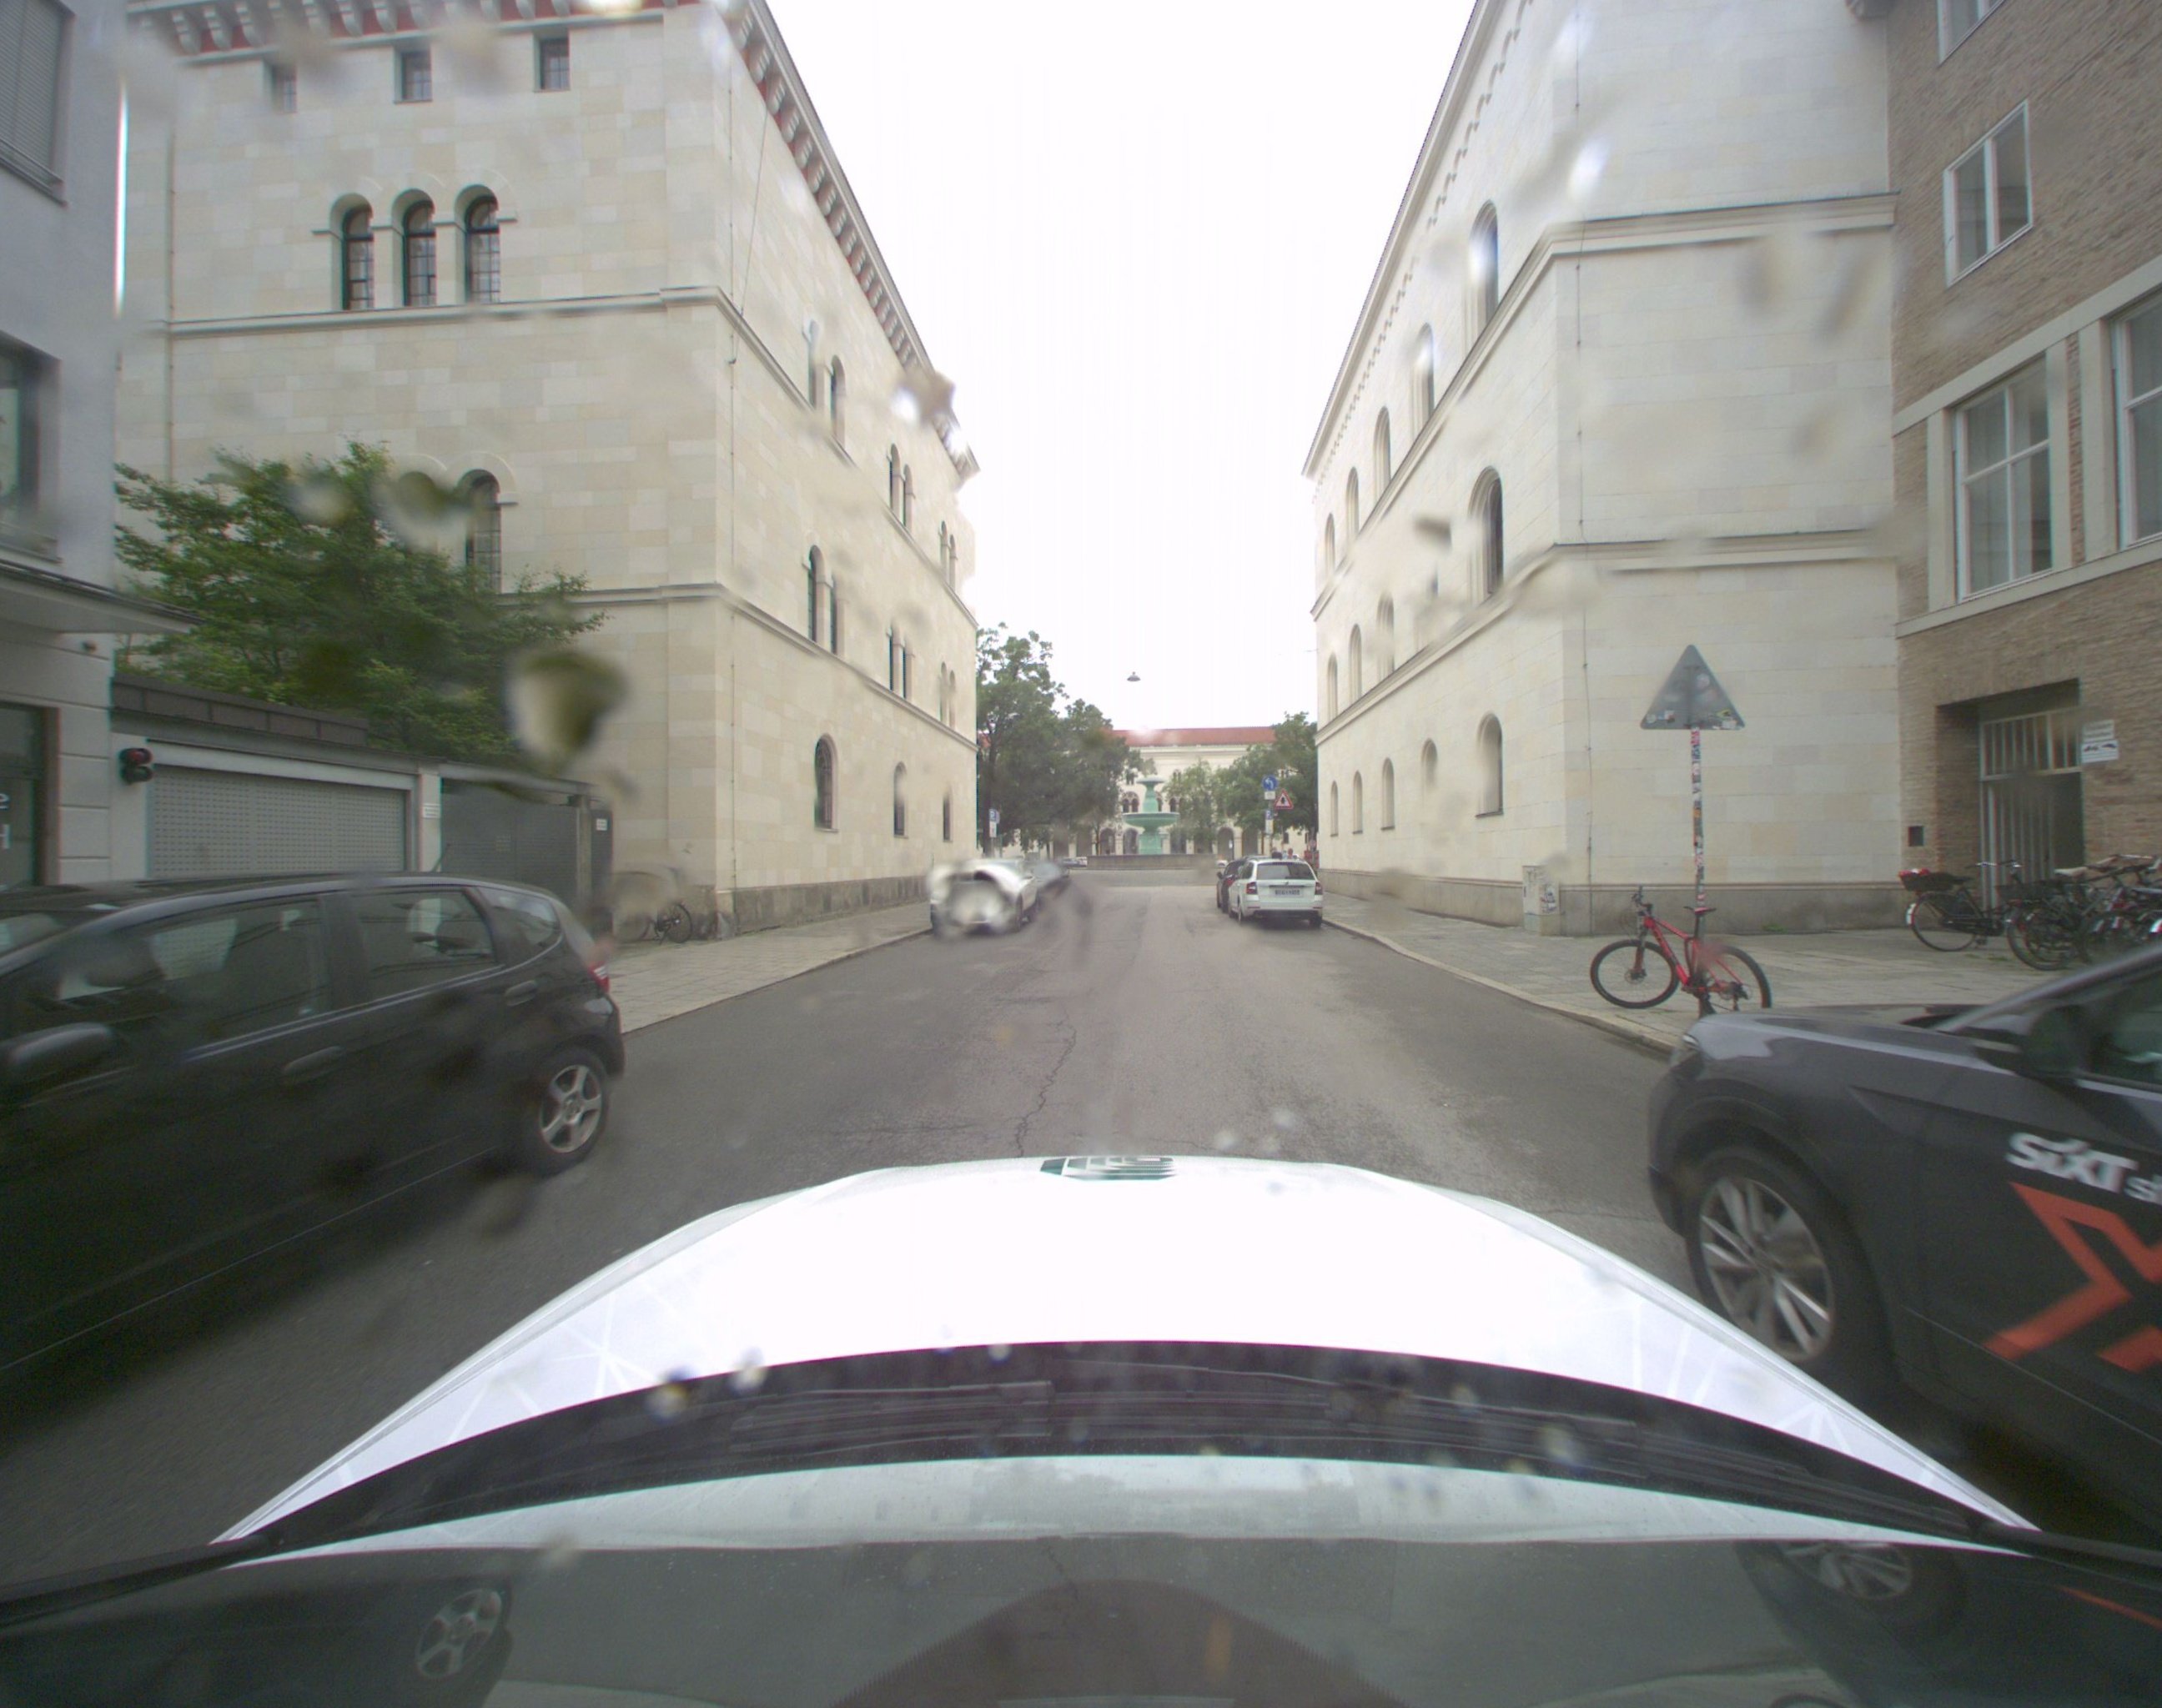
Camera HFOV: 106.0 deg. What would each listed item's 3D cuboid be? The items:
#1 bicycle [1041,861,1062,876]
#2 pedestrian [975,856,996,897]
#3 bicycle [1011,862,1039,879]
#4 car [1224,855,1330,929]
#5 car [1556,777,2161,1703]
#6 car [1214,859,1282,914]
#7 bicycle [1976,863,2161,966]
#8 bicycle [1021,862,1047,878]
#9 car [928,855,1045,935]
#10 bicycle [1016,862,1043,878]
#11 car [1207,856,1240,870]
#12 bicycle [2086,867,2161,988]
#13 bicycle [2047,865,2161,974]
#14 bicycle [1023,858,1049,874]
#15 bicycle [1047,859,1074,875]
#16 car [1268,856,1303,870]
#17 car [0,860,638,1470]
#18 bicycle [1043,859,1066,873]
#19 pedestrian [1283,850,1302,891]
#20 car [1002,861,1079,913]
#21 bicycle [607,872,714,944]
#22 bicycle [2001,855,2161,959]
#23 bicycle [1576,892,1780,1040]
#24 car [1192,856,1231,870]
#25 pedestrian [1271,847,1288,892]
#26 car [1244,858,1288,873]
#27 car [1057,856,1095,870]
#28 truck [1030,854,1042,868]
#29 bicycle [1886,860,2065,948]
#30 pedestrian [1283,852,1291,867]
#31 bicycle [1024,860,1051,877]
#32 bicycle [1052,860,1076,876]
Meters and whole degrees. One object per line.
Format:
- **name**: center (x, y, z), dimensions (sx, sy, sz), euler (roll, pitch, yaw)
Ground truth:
- **bicycle**: center (-2.126, 1.037, 58.403), dimensions (1.390, 1.099, 0.659), euler (0, 0, 16)
- **pedestrian**: center (-4.130, 0.972, 35.300), dimensions (0.751, 1.749, 0.690), euler (-2, 0, 3)
- **bicycle**: center (-3.550, 1.041, 51.937), dimensions (1.606, 1.035, 0.701), euler (0, 0, 16)
- **car**: center (4.330, 0.774, 18.582), dimensions (1.780, 1.476, 4.320), euler (0, 0, 6)
- **car**: center (2.726, 0.662, 1.273), dimensions (1.741, 1.593, 3.957), euler (0, 0, 1)
- **car**: center (4.716, 0.880, 23.407), dimensions (1.532, 1.426, 3.778), euler (-1, -1, 6)
- **bicycle**: center (10.696, 0.642, 8.720), dimensions (1.620, 1.042, 0.349), euler (-2, 0, 9)
- **bicycle**: center (-3.085, 1.021, 53.449), dimensions (1.606, 1.035, 0.701), euler (0, 0, 16)
- **car**: center (-1.976, 0.840, 18.213), dimensions (1.770, 1.535, 4.216), euler (-2, -1, 4)
- **bicycle**: center (-3.323, 1.036, 52.657), dimensions (1.606, 1.035, 0.701), euler (0, 0, 16)
- **car**: center (18.113, 1.190, 103.654), dimensions (3.969, 1.750, 1.810), euler (0, 0, 4)
- **bicycle**: center (9.994, 0.636, 7.305), dimensions (1.423, 1.042, 0.349), euler (-2, 0, 3)
- **bicycle**: center (10.795, 0.639, 8.136), dimensions (1.620, 1.042, 0.349), euler (-2, 0, 9)
- **bicycle**: center (-3.113, 0.798, 56.231), dimensions (1.606, 1.099, 0.701), euler (0, 0, 16)
- **bicycle**: center (-1.415, 0.922, 56.531), dimensions (1.697, 1.099, 0.701), euler (0, 0, 16)
- **car**: center (25.842, 1.185, 102.888), dimensions (4.082, 1.741, 1.747), euler (0, 0, 1)
- **car**: center (-3.533, 0.821, 2.654), dimensions (1.743, 1.453, 4.019), euler (-2, 1, 3)
- **bicycle**: center (-1.896, 0.862, 59.229), dimensions (1.524, 1.019, 0.701), euler (0, 0, 16)
- **pedestrian**: center (8.707, 0.675, 33.496), dimensions (0.618, 1.681, 0.545), euler (1, 0, -1)
- **car**: center (-1.131, 0.940, 24.612), dimensions (1.690, 1.393, 4.218), euler (-2, -1, 5)
- **bicycle**: center (-7.180, 0.924, 13.904), dimensions (1.699, 1.178, 0.477), euler (-1, 0, 14)
- **bicycle**: center (11.327, 0.583, 9.031), dimensions (1.620, 1.094, 0.349), euler (-2, 0, 9)
- **bicycle**: center (5.011, 0.880, 6.967), dimensions (0.347, 1.042, 1.631), euler (-3, 0, -6)
- **car**: center (13.688, 0.911, 85.800), dimensions (3.965, 1.403, 1.828), euler (-1, 0, 7)
- **pedestrian**: center (8.038, 0.638, 33.019), dimensions (0.637, 1.808, 0.490), euler (-1, 0, 10)
- **car**: center (19.270, 1.208, 85.064), dimensions (4.334, 1.524, 1.807), euler (-1, 0, 6)
- **car**: center (-0.503, 0.917, 86.989), dimensions (3.969, 1.376, 2.002), euler (-1, 0, 3)
- **truck**: center (-7.940, 1.194, 142.520), dimensions (1.991, 2.489, 3.992), euler (0, 0, -6)
- **bicycle**: center (11.101, 0.619, 10.137), dimensions (1.620, 1.042, 0.349), euler (-2, 0, 9)
- **pedestrian**: center (19.842, 0.507, 78.337), dimensions (0.576, 1.465, 0.551), euler (-1, 0, 28)
- **bicycle**: center (-2.891, 0.986, 54.190), dimensions (1.606, 1.099, 0.701), euler (0, 0, 16)
- **bicycle**: center (-1.188, 0.992, 57.220), dimensions (1.606, 1.099, 0.619), euler (0, 0, 16)
